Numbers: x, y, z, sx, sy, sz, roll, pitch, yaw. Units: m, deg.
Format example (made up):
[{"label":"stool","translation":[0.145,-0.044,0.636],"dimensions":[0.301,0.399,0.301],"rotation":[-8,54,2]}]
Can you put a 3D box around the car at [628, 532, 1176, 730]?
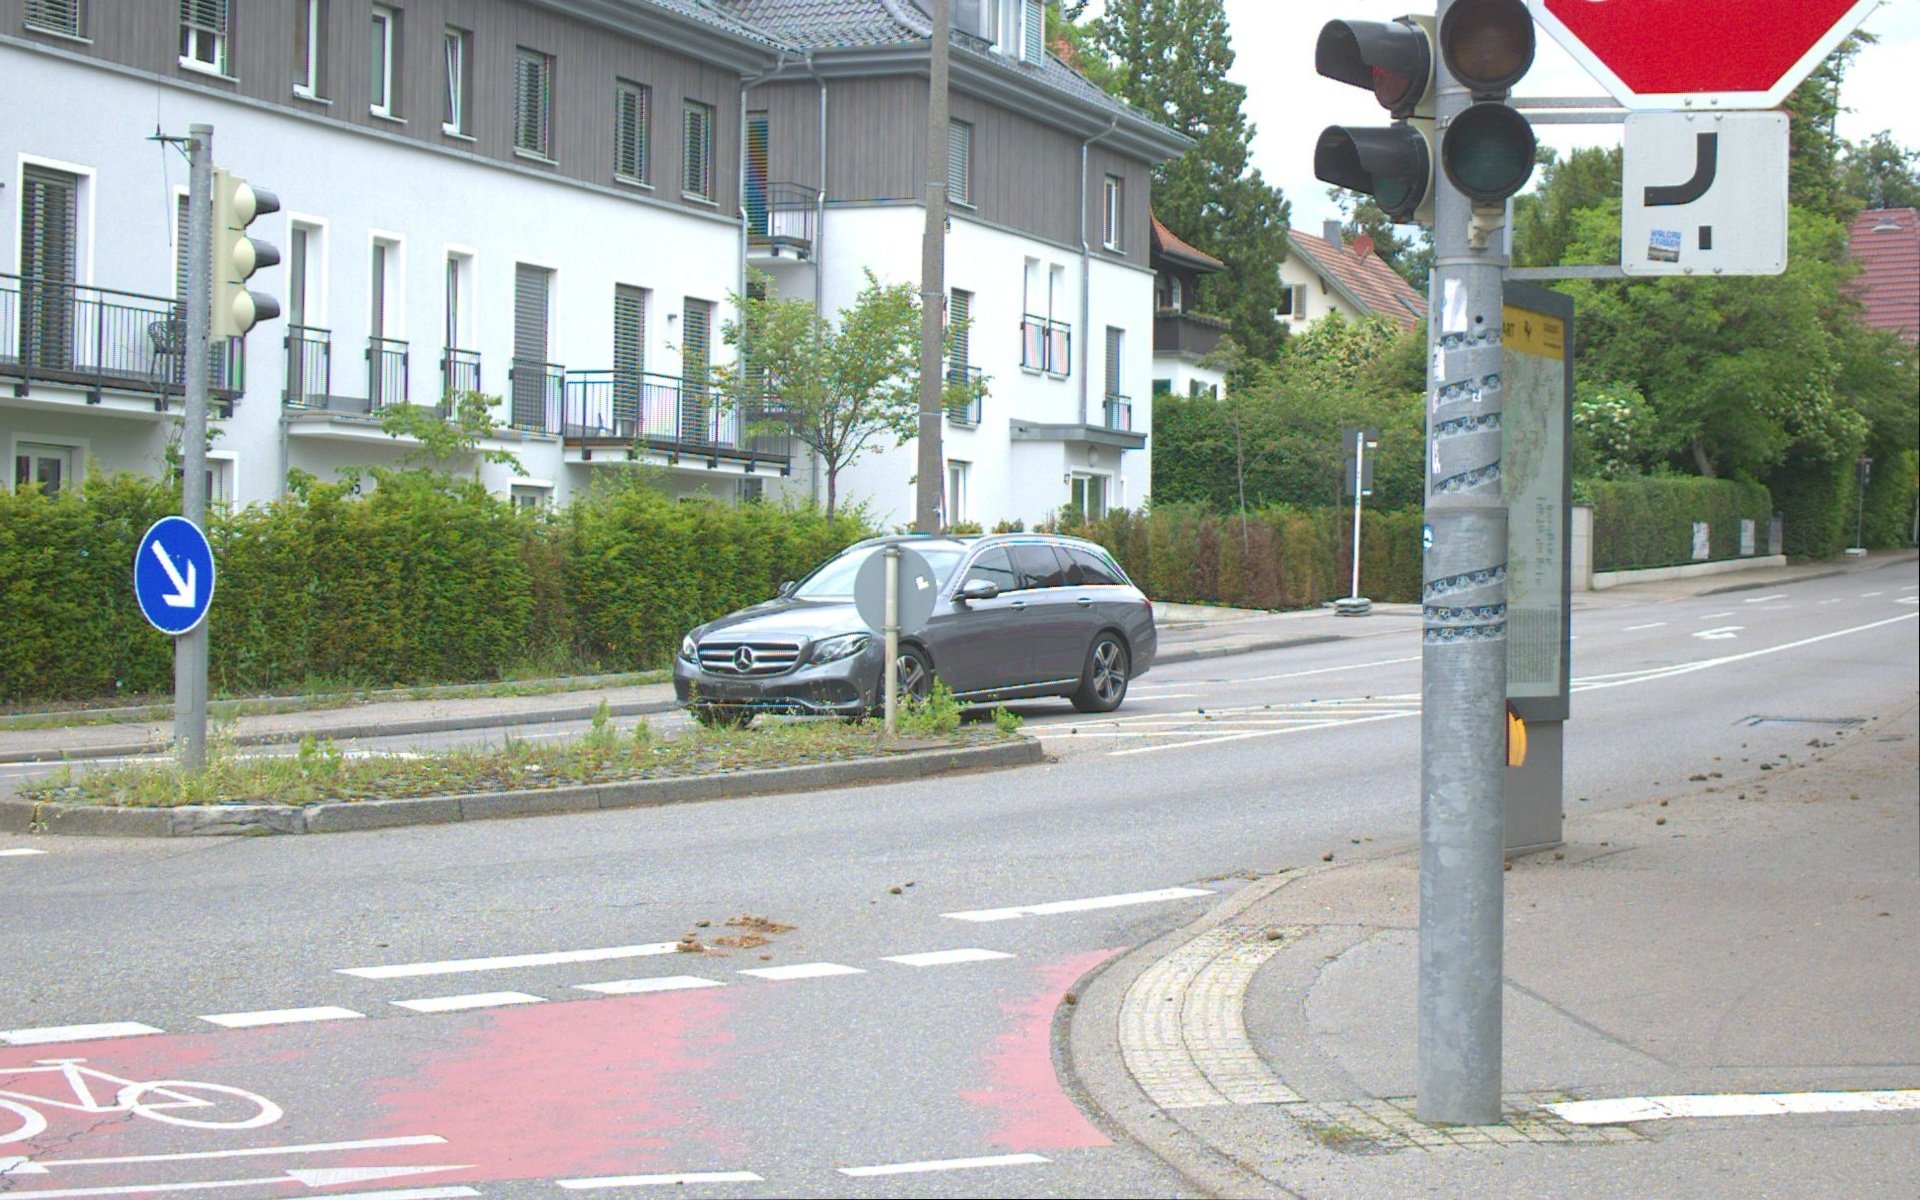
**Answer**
[{"label":"car","translation":[-0.348,0.176,27.161],"dimensions":[1.942,1.399,4.733],"rotation":[1,2,34]}]
